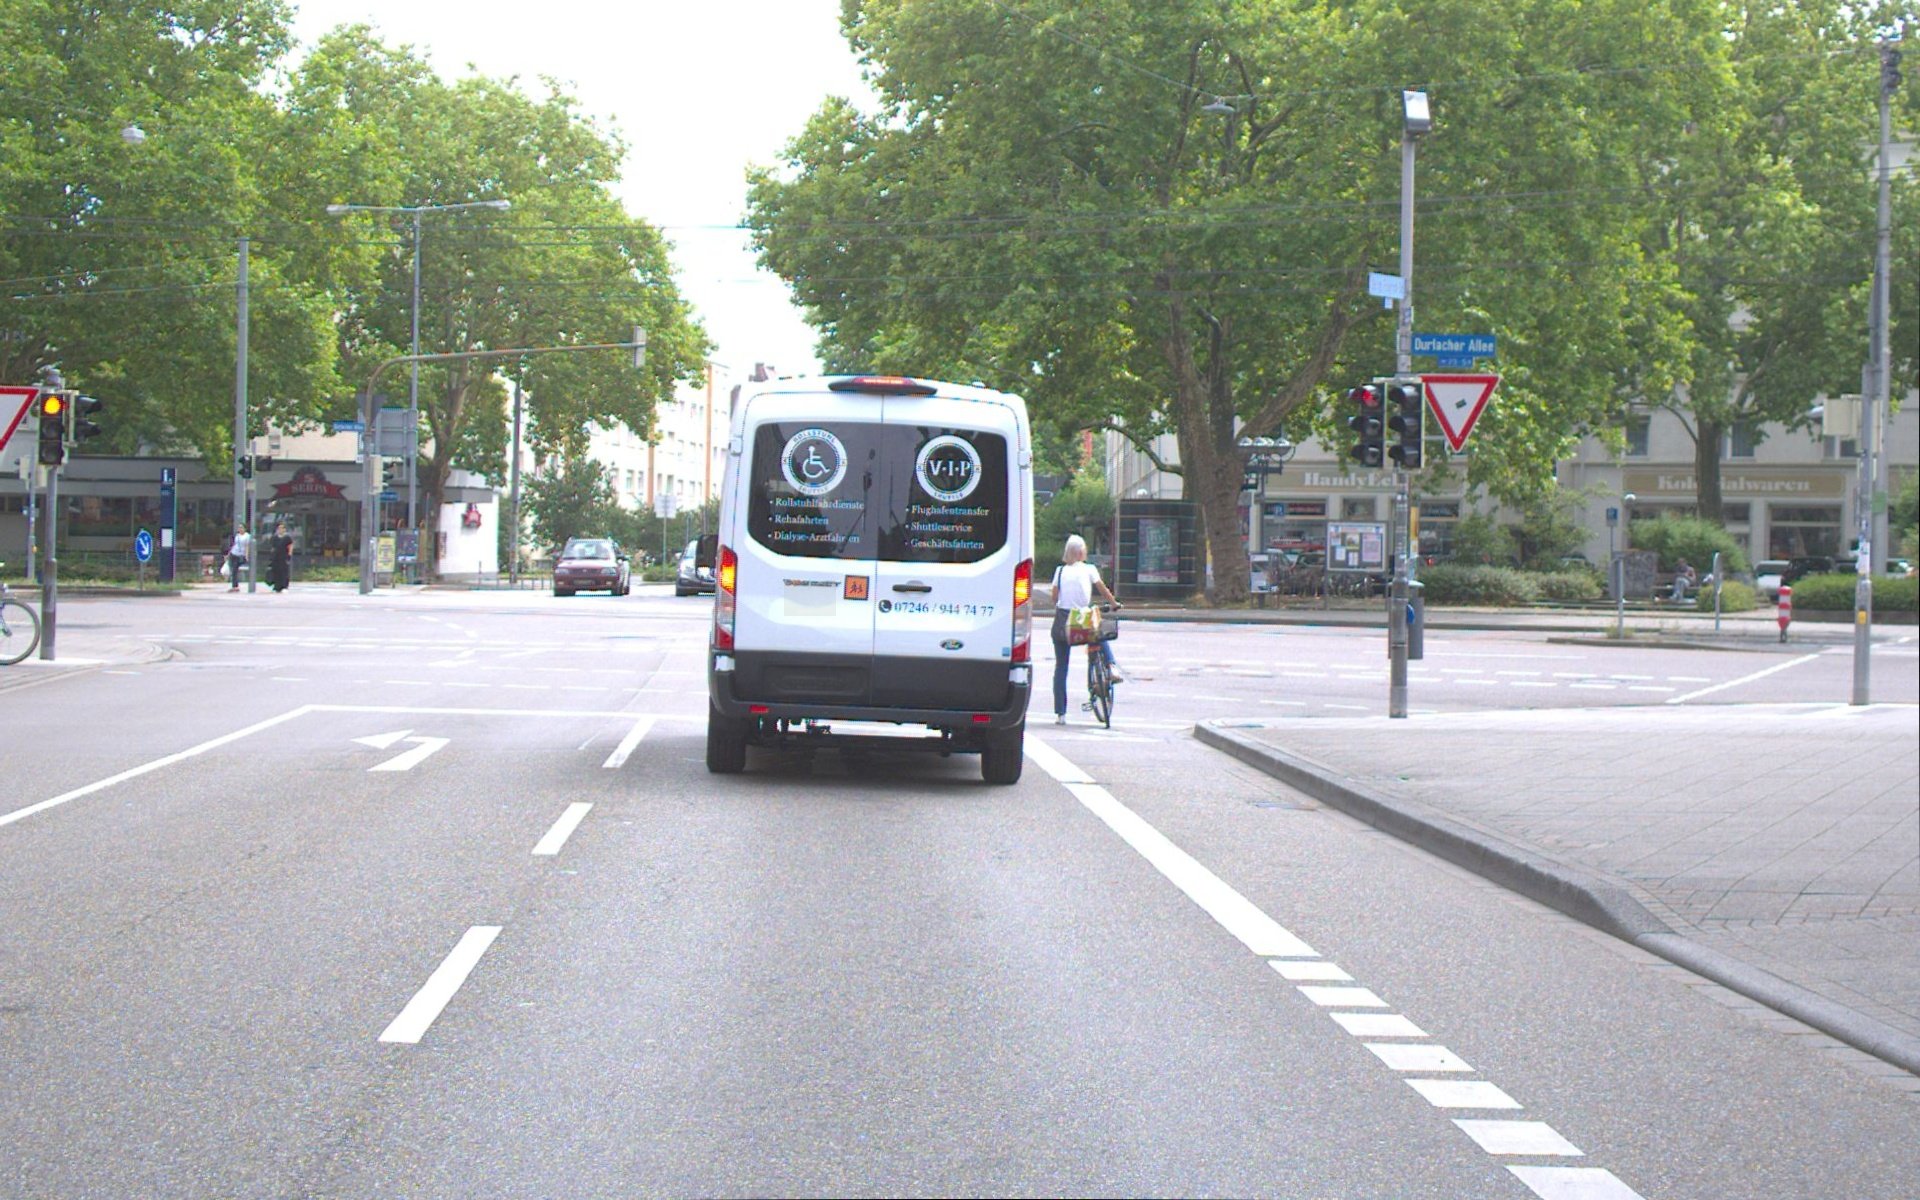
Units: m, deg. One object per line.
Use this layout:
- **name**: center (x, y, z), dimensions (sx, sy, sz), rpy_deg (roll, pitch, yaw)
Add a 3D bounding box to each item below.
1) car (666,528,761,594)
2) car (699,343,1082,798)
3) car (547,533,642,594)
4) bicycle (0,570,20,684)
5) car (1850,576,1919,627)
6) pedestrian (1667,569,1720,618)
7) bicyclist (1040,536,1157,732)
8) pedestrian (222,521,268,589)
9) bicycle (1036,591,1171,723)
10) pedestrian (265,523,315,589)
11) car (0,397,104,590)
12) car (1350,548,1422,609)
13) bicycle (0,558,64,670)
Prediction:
- **car**: center (-6.162, -0.991, 86.365), dimensions (1.733, 1.586, 3.999), rpy_deg (1, 1, 5)
- **car**: center (-0.567, -0.234, 22.956), dimensions (2.181, 2.638, 4.629), rpy_deg (3, 1, -4)
- **car**: center (-9.226, -0.938, 87.035), dimensions (1.621, 1.471, 3.999), rpy_deg (1, 1, 5)
- **bicycle**: center (-10.337, 0.207, 34.070), dimensions (1.809, 1.116, 0.594), rpy_deg (4, 1, 2)
- **car**: center (29.036, 0.041, 106.509), dimensions (1.994, 1.498, 4.000), rpy_deg (1, 1, 2)
- **pedestrian**: center (18.846, -0.163, 88.359), dimensions (1.091, 1.232, 1.441), rpy_deg (-1, 0, 2)
- **bicyclist**: center (1.204, 0.287, 30.008), dimensions (0.903, 1.677, 0.757), rpy_deg (1, 1, -5)
- **pedestrian**: center (-16.611, -1.050, 79.889), dimensions (0.807, 1.567, 0.723), rpy_deg (1, 1, 12)
- **bicycle**: center (1.228, 0.476, 29.823), dimensions (0.902, 1.071, 1.970), rpy_deg (1, 1, -5)
- **pedestrian**: center (-15.557, -1.015, 79.821), dimensions (0.930, 1.509, 0.723), rpy_deg (1, 1, 12)
- **car**: center (-23.388, -2.278, 73.148), dimensions (9.896, 3.902, 3.451), rpy_deg (1, 1, 23)
- **car**: center (13.893, -0.725, 112.362), dimensions (1.994, 1.924, 4.000), rpy_deg (1, 1, 2)
- **bicycle**: center (-10.680, 0.117, 37.225), dimensions (1.877, 1.163, 0.497), rpy_deg (3, 0, 19)
